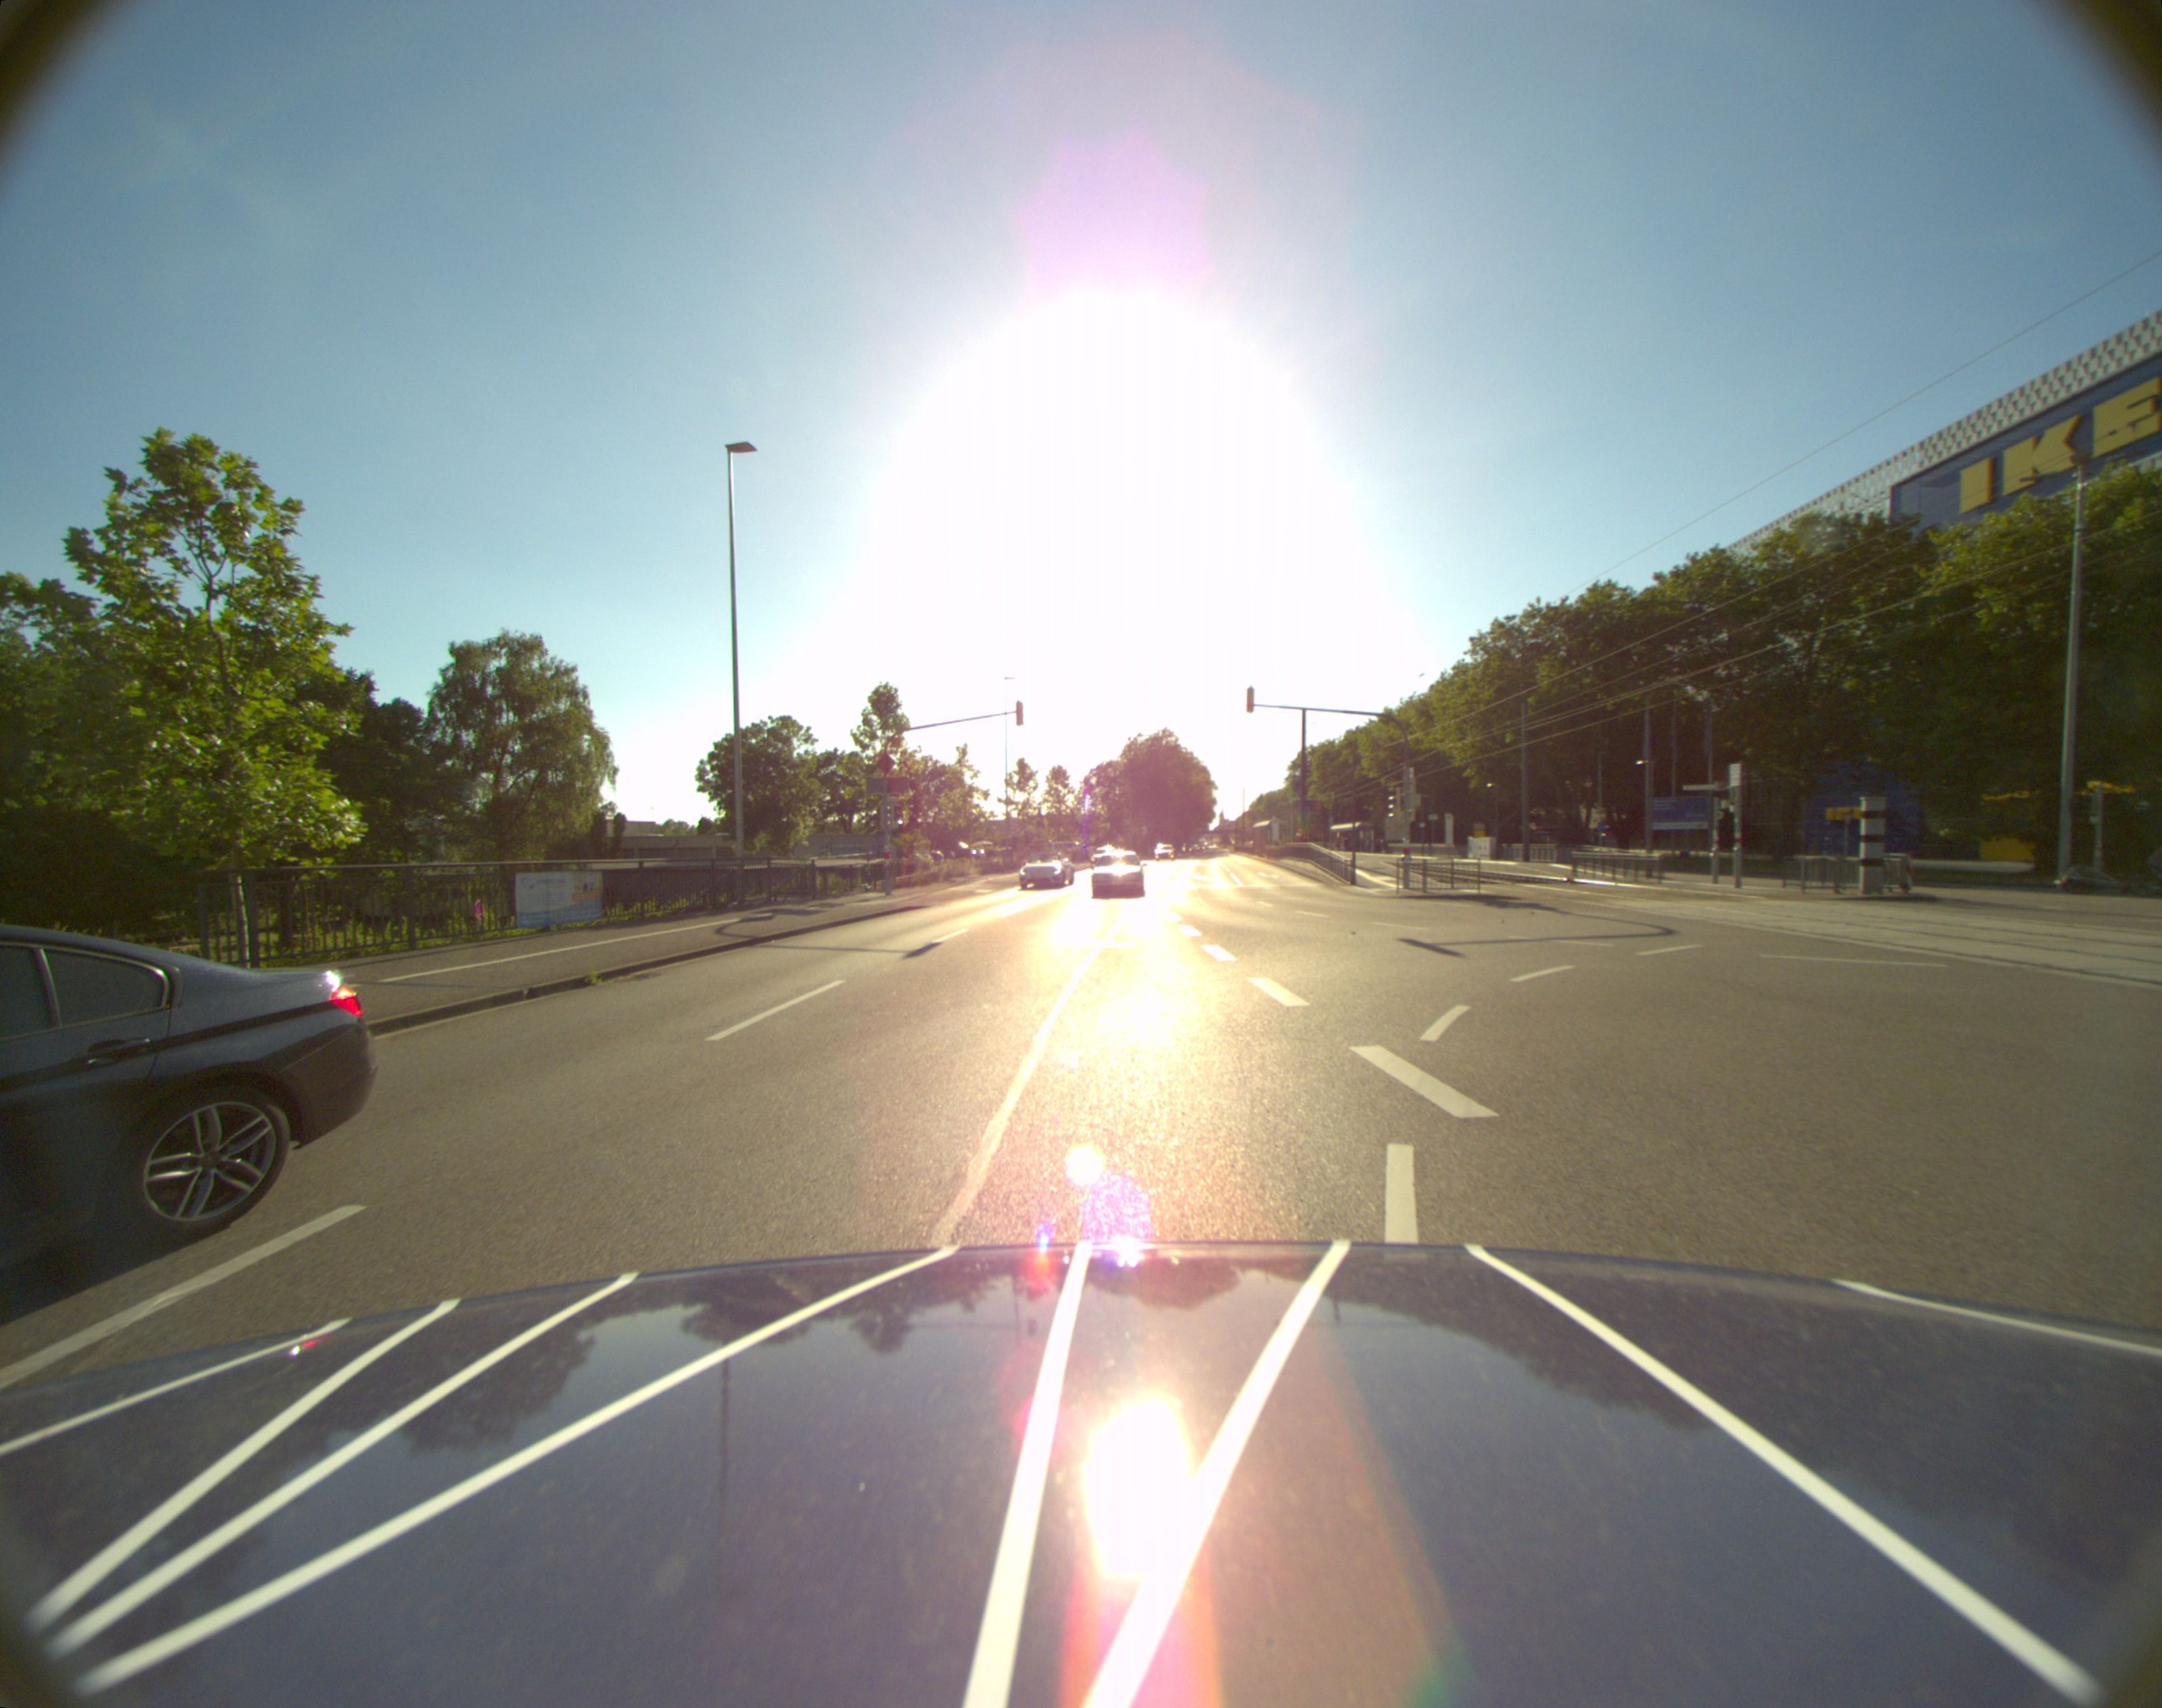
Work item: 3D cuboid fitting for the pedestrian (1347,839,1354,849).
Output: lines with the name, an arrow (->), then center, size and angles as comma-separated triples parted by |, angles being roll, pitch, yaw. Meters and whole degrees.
pedestrian -> 31.743, -1.169, 89.532 | 0.679, 1.156, 0.624 | -1, 1, 7

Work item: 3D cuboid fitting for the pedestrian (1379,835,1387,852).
pedestrian -> 29.594, -1.060, 74.365 | 0.603, 1.611, 0.691 | -2, 1, 13

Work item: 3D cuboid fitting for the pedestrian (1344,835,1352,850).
pedestrian -> 29.202, -1.291, 83.217 | 0.661, 1.623, 0.777 | -2, 1, 11

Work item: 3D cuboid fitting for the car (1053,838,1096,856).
car -> -0.874, -0.913, 99.716 | 5.347, 2.010, 2.105 | -3, 1, 7

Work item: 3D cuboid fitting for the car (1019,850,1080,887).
car -> -1.278, 0.578, 32.461 | 1.855, 1.415, 3.982 | -2, 1, 8

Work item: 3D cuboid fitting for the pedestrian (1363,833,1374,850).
pedestrian -> 30.141, -1.297, 79.677 | 0.733, 1.810, 0.687 | -3, 1, -1

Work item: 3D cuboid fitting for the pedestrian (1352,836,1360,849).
pedestrian -> 31.023, -1.309, 85.670 | 0.671, 1.483, 0.577 | -1, 1, -4

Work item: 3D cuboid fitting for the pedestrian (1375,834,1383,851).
pedestrian -> 29.881, -1.137, 76.132 | 0.652, 1.709, 0.636 | -2, 1, 13

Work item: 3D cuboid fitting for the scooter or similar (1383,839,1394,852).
scooter or similar -> 29.217, -0.817, 72.242 | 0.665, 1.228, 1.373 | -1, 1, 9

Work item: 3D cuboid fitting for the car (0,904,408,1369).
car -> -4.664, 1.068, 1.809 | 1.870, 1.459, 4.586 | -2, 1, 2

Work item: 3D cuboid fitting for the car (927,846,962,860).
car -> -17.926, -0.167, 99.853 | 4.028, 1.577, 1.686 | -3, 1, 6

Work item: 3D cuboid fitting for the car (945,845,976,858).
car -> -16.606, -0.312, 104.919 | 3.871, 1.631, 1.665 | -3, 1, 8

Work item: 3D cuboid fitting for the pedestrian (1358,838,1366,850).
pedestrian -> 30.379, -1.082, 82.165 | 0.654, 1.245, 0.686 | -3, 1, 7

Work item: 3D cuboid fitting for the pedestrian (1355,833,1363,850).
pedestrian -> 29.740, -1.328, 81.203 | 0.654, 1.732, 0.686 | -3, 1, 12

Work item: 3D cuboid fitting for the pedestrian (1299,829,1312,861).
pedestrian -> 12.012, -0.489, 40.654 | 0.534, 1.648, 0.751 | -3, 2, 11

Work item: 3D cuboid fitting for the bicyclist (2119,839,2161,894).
bicyclist -> 32.735, 0.371, 22.879 | 1.482, 1.608, 0.824 | 1, 3, 30

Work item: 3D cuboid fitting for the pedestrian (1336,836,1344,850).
pedestrian -> 31.356, -1.348, 92.063 | 0.762, 1.700, 0.678 | -3, 2, 10

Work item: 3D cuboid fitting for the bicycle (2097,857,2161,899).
bicycle -> 32.675, 0.729, 22.927 | 2.273, 1.211, 0.716 | 1, 3, 30

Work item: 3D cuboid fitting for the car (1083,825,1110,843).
car -> 2.417, -3.002, 115.784 | 2.937, 2.607, 5.927 | -1, 1, 13

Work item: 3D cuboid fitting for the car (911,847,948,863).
car -> -18.331, 0.116, 92.066 | 3.916, 1.657, 1.706 | -3, 2, 7

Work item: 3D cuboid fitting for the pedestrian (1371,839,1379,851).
pedestrian -> 29.856, -0.908, 77.091 | 0.603, 1.217, 0.617 | -2, 1, 13

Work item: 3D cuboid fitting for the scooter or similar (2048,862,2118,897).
scooter or similar -> 31.217, 0.785, 23.698 | 1.064, 1.009, 0.790 | 1, 3, 30

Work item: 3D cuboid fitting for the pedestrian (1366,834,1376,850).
pedestrian -> 30.103, -1.224, 78.853 | 0.733, 1.682, 0.687 | -3, 1, -1

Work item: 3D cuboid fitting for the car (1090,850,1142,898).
car -> 1.254, 0.636, 26.179 | 1.602, 1.440, 3.800 | -2, 1, 4

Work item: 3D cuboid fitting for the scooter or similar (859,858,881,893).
scooter or similar -> -7.782, 0.776, 28.025 | 0.525, 1.224, 1.266 | -1, 2, -4

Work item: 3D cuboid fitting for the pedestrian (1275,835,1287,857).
pedestrian -> 15.618, -0.603, 59.270 | 0.695, 1.706, 0.822 | -2, 1, 5

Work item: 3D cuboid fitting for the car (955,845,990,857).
car -> -15.762, -0.462, 110.148 | 4.658, 1.560, 1.859 | -3, 1, 6

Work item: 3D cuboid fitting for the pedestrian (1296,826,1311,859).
pedestrian -> 12.378, -0.642, 42.260 | 0.708, 1.765, 0.536 | -3, 2, 14

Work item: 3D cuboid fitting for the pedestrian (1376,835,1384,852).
pedestrian -> 29.764, -1.068, 75.654 | 0.652, 1.611, 0.636 | -2, 1, 13

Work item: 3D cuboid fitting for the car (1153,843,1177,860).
car -> 7.795, -0.223, 70.551 | 1.870, 1.422, 3.833 | -3, 1, 11

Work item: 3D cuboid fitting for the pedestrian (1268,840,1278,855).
pedestrian -> 16.051, -0.569, 63.616 | 0.681, 1.225, 0.879 | -3, 1, 9

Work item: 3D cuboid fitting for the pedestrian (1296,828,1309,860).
pedestrian -> 12.128, -0.552, 41.589 | 0.534, 1.683, 0.761 | -3, 2, 11

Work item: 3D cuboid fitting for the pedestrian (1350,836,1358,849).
pedestrian -> 31.004, -1.309, 86.289 | 0.615, 1.460, 0.544 | -1, 1, 1

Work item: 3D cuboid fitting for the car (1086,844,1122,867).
car -> 1.632, 0.070, 52.573 | 1.739, 1.502, 4.003 | -2, 1, 11
